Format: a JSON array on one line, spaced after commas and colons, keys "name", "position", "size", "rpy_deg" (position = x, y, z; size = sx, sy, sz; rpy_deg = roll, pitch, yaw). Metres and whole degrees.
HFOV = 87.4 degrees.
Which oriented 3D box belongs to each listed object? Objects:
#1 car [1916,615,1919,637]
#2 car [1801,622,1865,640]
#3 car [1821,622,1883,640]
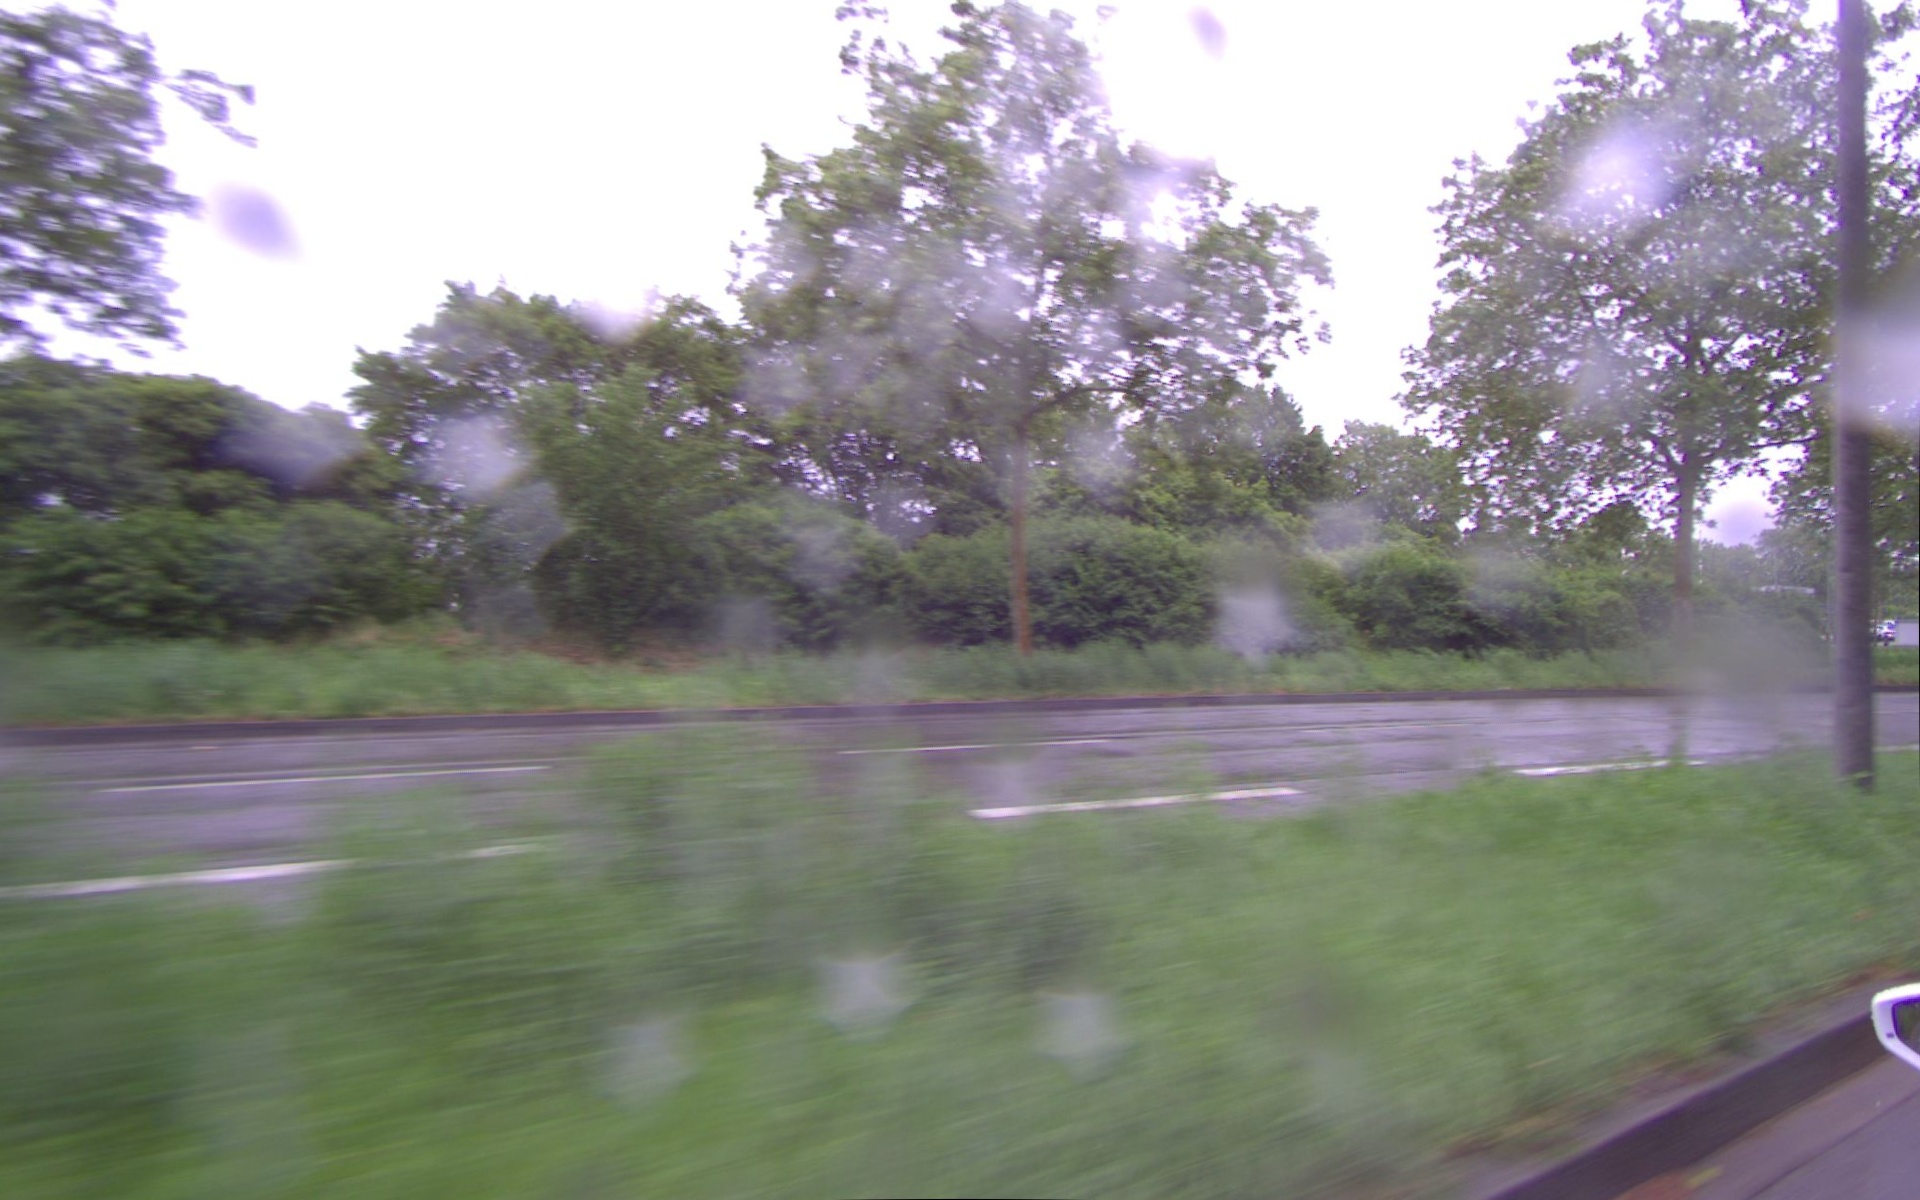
[{"name": "car", "position": [67.411, 1.801, 67.622], "size": [1.577, 1.514, 4.177], "rpy_deg": [1, -1, -26]}, {"name": "car", "position": [73.793, 2.597, 84.956], "size": [1.577, 1.514, 3.748], "rpy_deg": [1, -1, -26]}, {"name": "car", "position": [78.529, 2.736, 88.481], "size": [1.577, 1.514, 3.748], "rpy_deg": [1, -1, -26]}]
